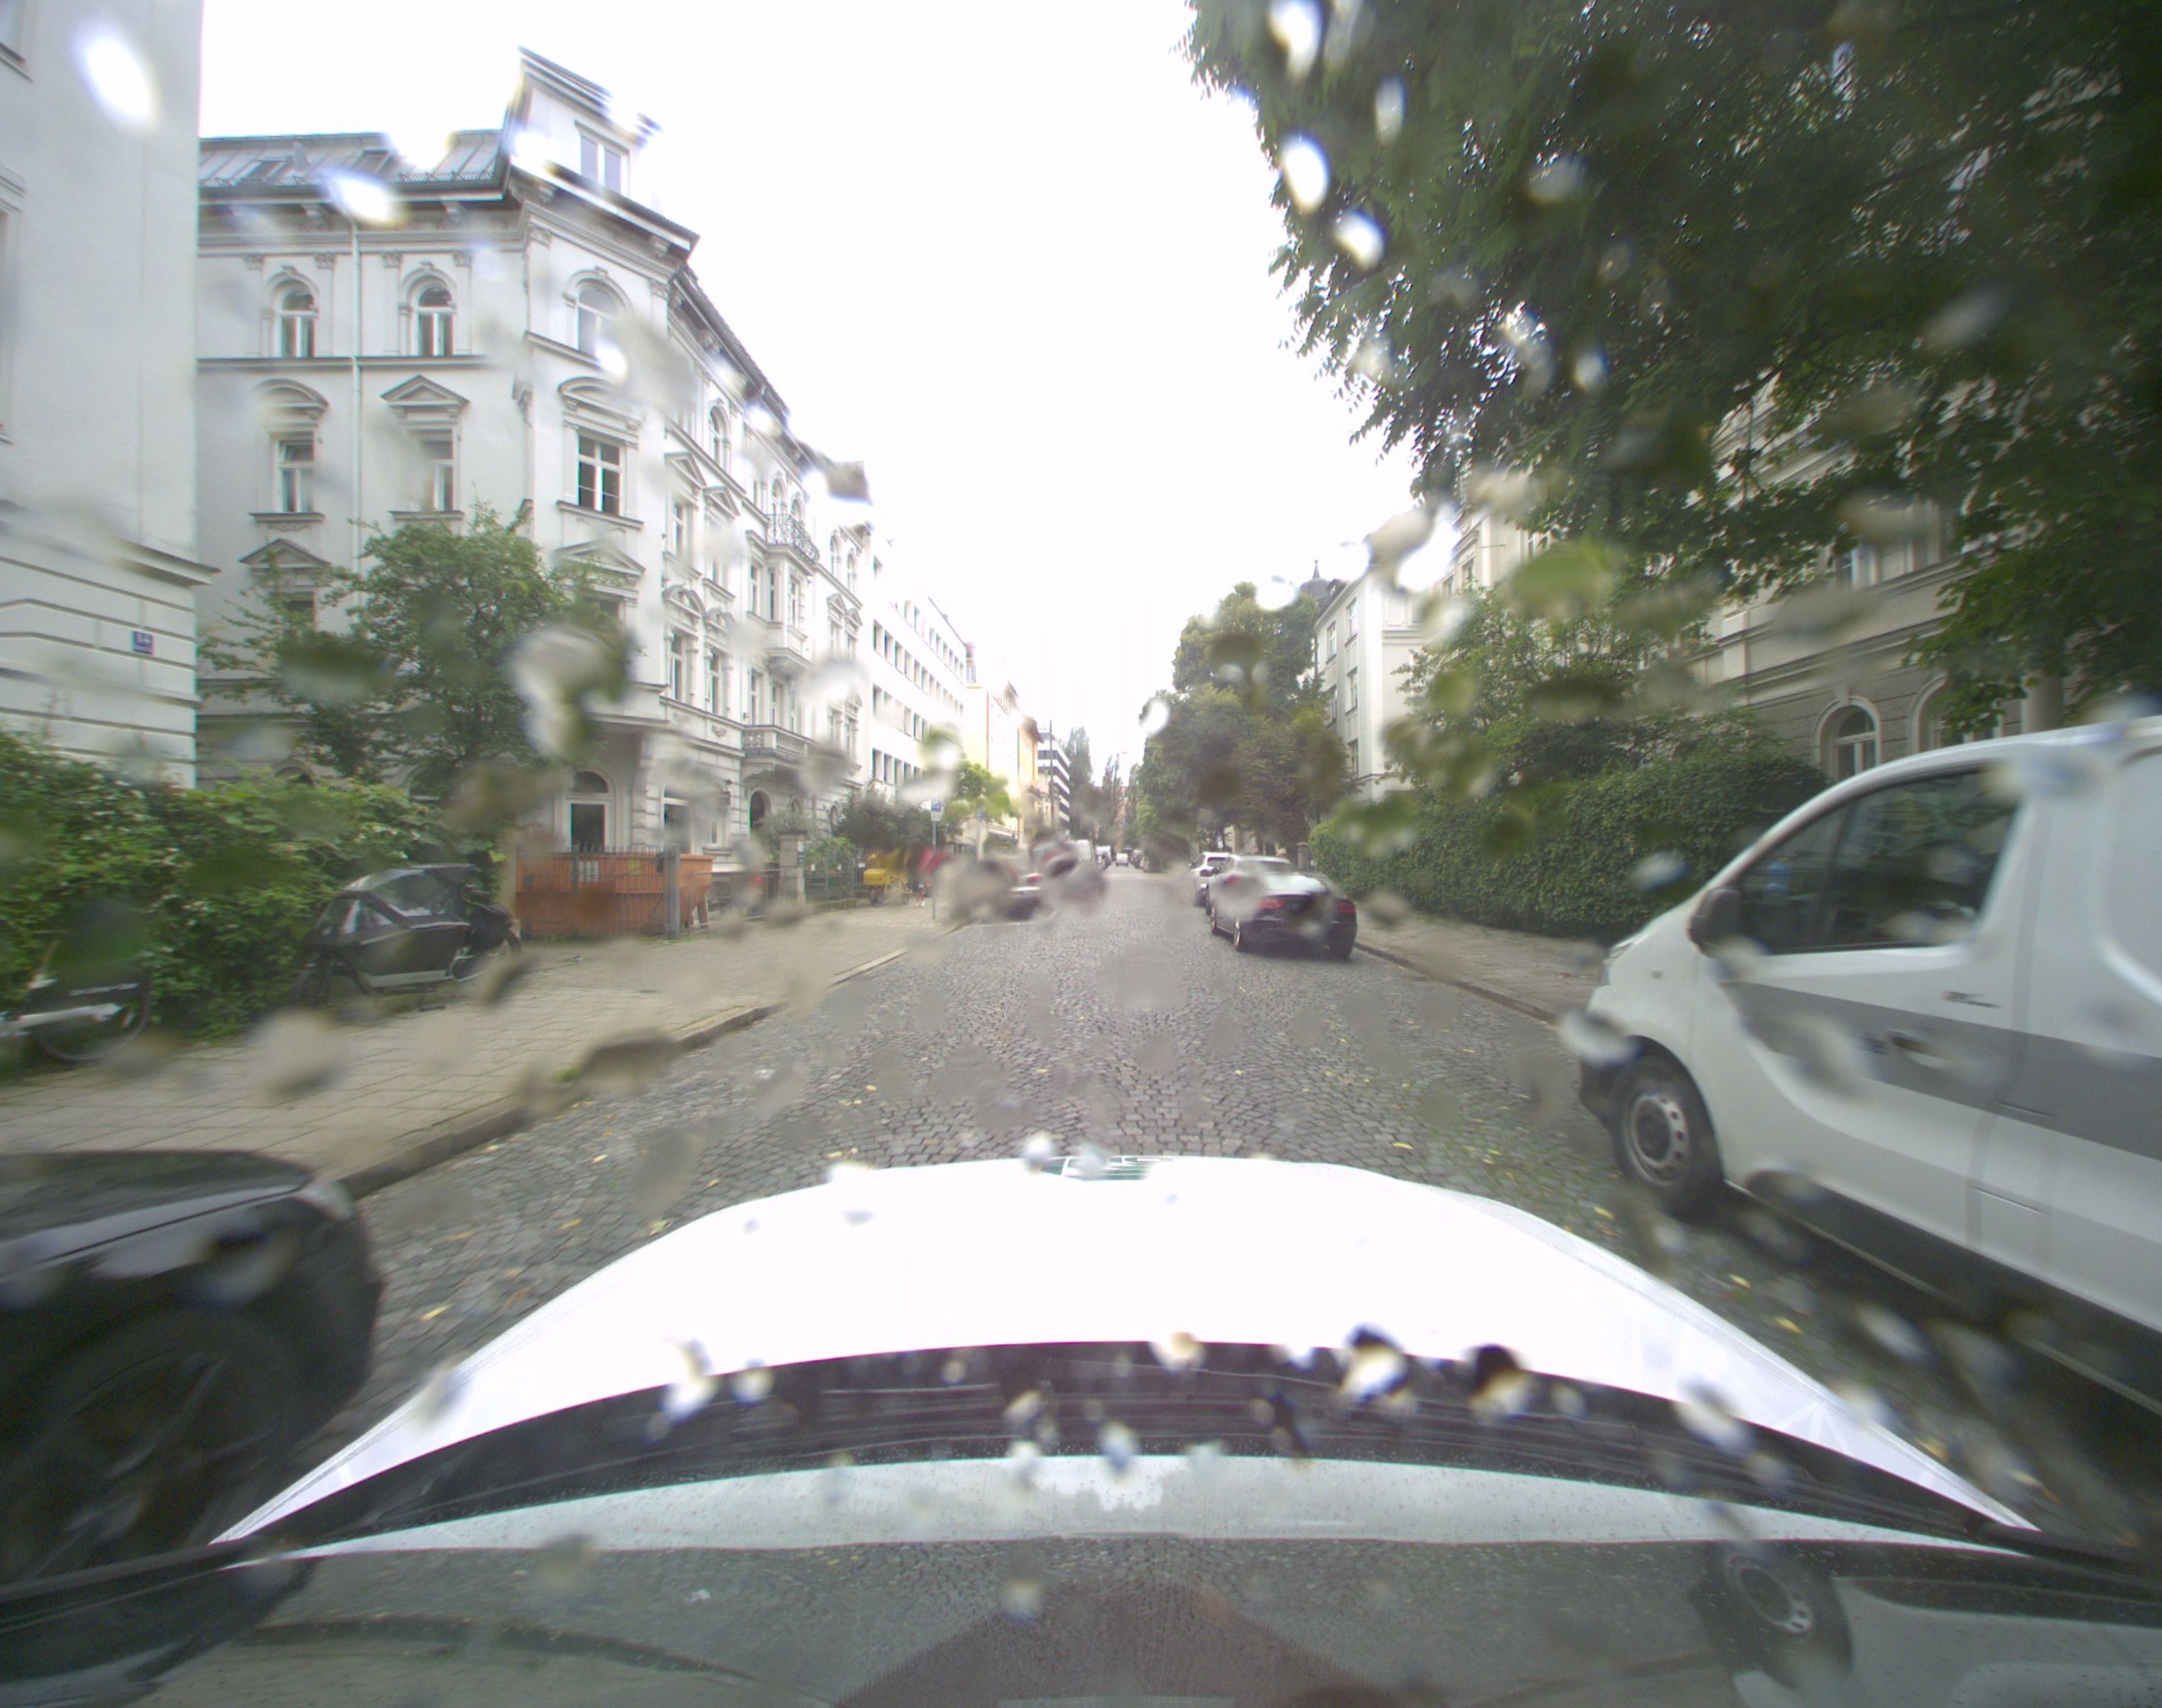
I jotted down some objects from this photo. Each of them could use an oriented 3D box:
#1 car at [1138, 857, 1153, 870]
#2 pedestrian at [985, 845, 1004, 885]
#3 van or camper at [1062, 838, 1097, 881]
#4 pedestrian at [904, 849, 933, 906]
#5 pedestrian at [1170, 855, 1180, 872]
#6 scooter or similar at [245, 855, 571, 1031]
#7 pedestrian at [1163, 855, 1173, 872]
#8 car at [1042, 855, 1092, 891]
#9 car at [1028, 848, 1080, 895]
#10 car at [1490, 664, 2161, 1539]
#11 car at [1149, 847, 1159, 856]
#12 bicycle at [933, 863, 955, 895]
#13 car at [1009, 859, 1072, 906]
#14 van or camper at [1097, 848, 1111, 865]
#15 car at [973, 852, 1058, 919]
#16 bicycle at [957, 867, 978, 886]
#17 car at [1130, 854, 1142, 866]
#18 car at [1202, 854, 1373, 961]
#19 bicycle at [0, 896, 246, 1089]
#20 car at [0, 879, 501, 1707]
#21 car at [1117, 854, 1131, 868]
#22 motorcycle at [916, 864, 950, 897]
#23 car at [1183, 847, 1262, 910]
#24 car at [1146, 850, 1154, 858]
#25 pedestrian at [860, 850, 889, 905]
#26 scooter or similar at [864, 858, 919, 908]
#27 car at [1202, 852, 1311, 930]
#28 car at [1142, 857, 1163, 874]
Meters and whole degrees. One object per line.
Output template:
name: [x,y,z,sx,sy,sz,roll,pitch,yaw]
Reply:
car: [7.624,1.090,96.494,1.782,1.520,4.003,0,0,3]
pedestrian: [-4.169,0.545,39.412,0.789,1.917,0.759,1,0,2]
van or camper: [-0.092,0.366,54.994,1.985,2.652,4.003,-3,0,3]
pedestrian: [-4.840,0.695,24.274,0.690,1.687,0.720,0,-1,2]
pedestrian: [10.753,1.083,93.111,0.857,2.014,0.986,0,-1,-15]
scooter or similar: [-6.432,0.740,8.101,0.938,1.441,2.657,1,0,2]
pedestrian: [9.883,1.077,92.703,0.857,2.014,0.986,0,-1,-15]
car: [-0.625,0.903,40.033,1.864,1.580,4.215,2,0,6]
car: [-1.085,0.724,34.964,1.866,1.776,4.124,-4,0,2]
car: [3.339,0.575,2.213,1.867,1.928,5.164,2,0,1]
car: [16.023,-0.494,178.498,1.985,2.014,4.003,0,-1,3]
bicycle: [-5.516,0.963,32.632,0.656,1.221,2.078,0,0,-16]
car: [-1.341,0.921,28.410,1.867,1.451,4.208,-2,0,1]
van or camper: [3.903,0.428,139.560,2.247,2.742,5.102,1,0,3]
car: [-1.690,0.796,22.367,1.867,1.580,4.256,-3,0,1]
bicycle: [-5.471,1.071,39.259,0.500,0.839,2.093,0,0,6]
car: [9.489,1.027,139.684,1.985,2.014,4.003,0,0,3]
car: [3.394,0.798,14.293,1.867,1.503,4.511,2,0,1]
bicycle: [-6.949,0.894,5.441,0.574,1.122,2.051,0,0,2]
car: [-2.800,0.837,0.207,1.879,1.417,4.411,-3,0,4]
car: [6.176,1.033,117.315,1.985,2.014,4.003,0,0,3]
motorcycle: [-5.518,0.964,30.465,0.619,1.196,1.871,0,0,12]
car: [4.412,0.719,26.048,1.865,1.733,4.596,3,0,3]
car: [17.200,0.050,203.027,1.985,2.014,4.003,0,-1,3]
pedestrian: [-6.482,0.725,25.562,0.714,1.687,0.696,0,-1,2]
scooter or similar: [-5.787,0.858,25.016,0.937,1.441,2.658,0,0,3]
car: [4.069,0.807,19.546,1.810,1.580,4.210,3,0,2]
car: [6.642,1.027,75.819,1.782,1.520,4.003,0,0,3]
